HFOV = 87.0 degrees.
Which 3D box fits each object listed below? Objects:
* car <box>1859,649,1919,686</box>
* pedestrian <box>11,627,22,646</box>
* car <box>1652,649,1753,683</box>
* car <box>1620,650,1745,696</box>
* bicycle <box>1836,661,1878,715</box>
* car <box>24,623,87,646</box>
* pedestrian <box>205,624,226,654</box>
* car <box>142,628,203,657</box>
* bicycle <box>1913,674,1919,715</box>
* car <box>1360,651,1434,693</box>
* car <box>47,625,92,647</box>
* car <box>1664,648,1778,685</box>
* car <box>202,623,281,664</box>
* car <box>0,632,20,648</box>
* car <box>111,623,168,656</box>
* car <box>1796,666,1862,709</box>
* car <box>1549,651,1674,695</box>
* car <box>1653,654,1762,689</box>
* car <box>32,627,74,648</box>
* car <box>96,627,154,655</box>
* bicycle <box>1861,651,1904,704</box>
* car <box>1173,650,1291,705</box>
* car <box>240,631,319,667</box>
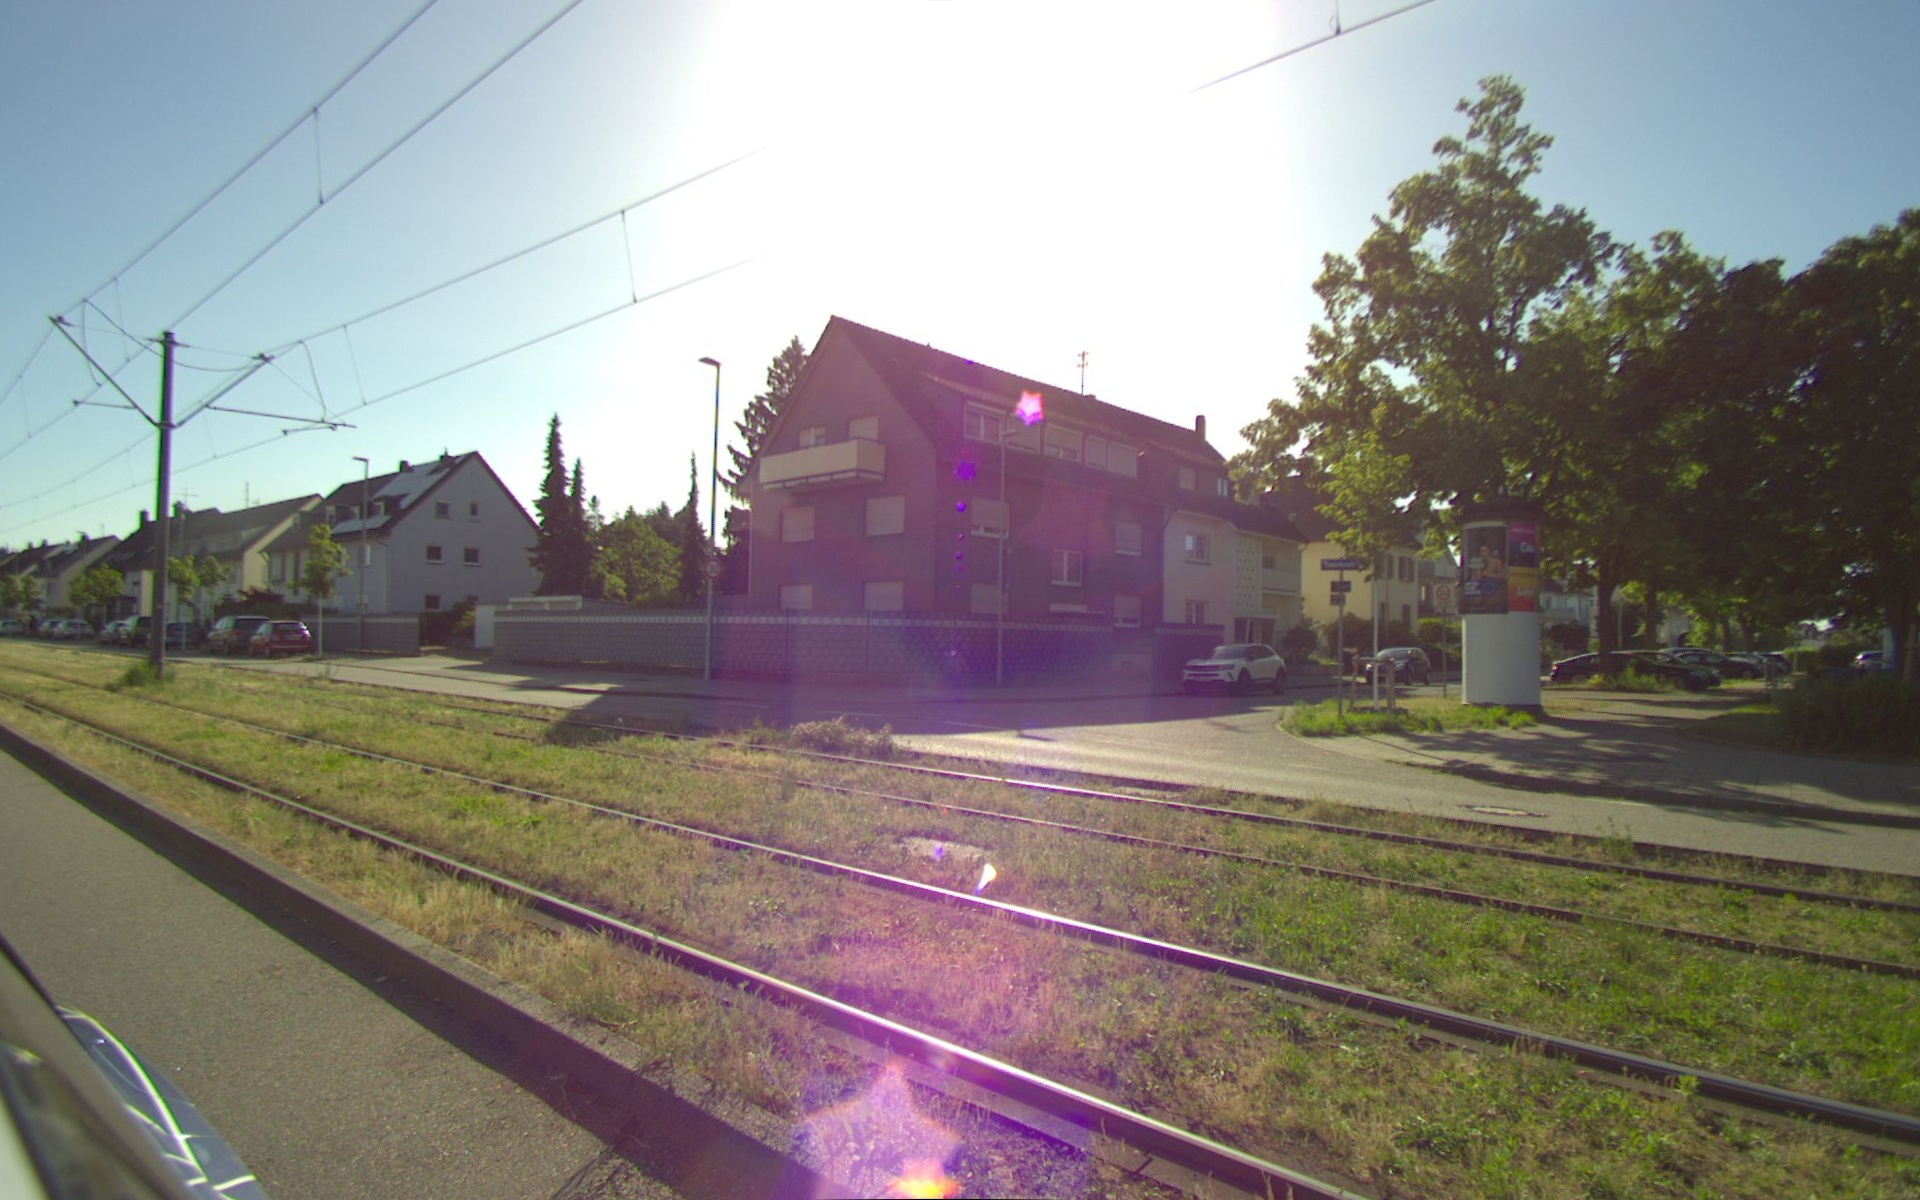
[{"bbox_3d":[44.210,3.119,46.654,4.002,1.630,1.747,-3,-3,45],"label":"car"},{"bbox_3d":[-90.375,3.467,96.921,0.676,1.829,0.611,-1,-1,31],"label":"pedestrian"},{"bbox_3d":[37.760,3.321,51.525,3.997,1.629,1.607,-2,-3,41],"label":"car"},{"bbox_3d":[26.362,2.628,37.005,1.454,1.543,3.401,1,-2,-38],"label":"car"},{"bbox_3d":[18.829,1.831,21.250,0.303,1.091,1.048,0,-3,23],"label":"bicycle"},{"bbox_3d":[-89.738,3.422,100.428,1.786,2.096,4.416,-1,0,40],"label":"car"},{"bbox_3d":[-40.730,2.132,55.342,0.919,1.652,0.689,-1,-1,38],"label":"pedestrian"},{"bbox_3d":[-42.153,2.241,54.161,4.044,1.502,1.660,-1,-1,38],"label":"car"},{"bbox_3d":[19.942,1.954,20.738,0.333,0.831,1.232,0,-3,30],"label":"bicycle"},{"bbox_3d":[17.298,2.803,39.992,1.725,1.472,3.581,-1,-1,41],"label":"car"},{"bbox_3d":[-63.909,2.561,72.621,4.437,1.487,1.672,-1,-1,39],"label":"car"},{"bbox_3d":[36.982,3.186,49.235,1.824,1.688,4.167,1,-3,-43],"label":"car"},{"bbox_3d":[-32.348,1.910,45.504,4.843,1.697,1.800,-1,-1,41],"label":"car"},{"bbox_3d":[-86.305,3.568,91.273,4.098,1.447,1.642,-1,-3,39],"label":"car"},{"bbox_3d":[-46.976,2.236,57.919,4.838,1.837,1.727,-1,-1,41],"label":"car"},{"bbox_3d":[28.826,2.858,33.537,3.970,1.221,1.343,3,-3,-45],"label":"car"},{"bbox_3d":[23.001,2.542,35.793,1.627,1.421,3.327,1,-2,-38],"label":"car"},{"bbox_3d":[34.801,3.285,47.171,1.703,1.496,3.832,1,-3,-43],"label":"car"},{"bbox_3d":[-68.592,2.797,76.523,4.309,1.484,1.672,-1,-1,39],"label":"car"},{"bbox_3d":[-50.753,2.462,61.477,4.553,1.552,1.940,-1,-1,40],"label":"car"},{"bbox_3d":[19.210,1.595,21.091,0.303,1.067,1.032,0,-3,23],"label":"bicycle"},{"bbox_3d":[7.962,2.205,29.439,1.838,1.440,3.821,-4,-4,40],"label":"car"},{"bbox_3d":[-28.254,2.024,41.991,4.076,1.415,1.677,-2,-4,41],"label":"car"}]
